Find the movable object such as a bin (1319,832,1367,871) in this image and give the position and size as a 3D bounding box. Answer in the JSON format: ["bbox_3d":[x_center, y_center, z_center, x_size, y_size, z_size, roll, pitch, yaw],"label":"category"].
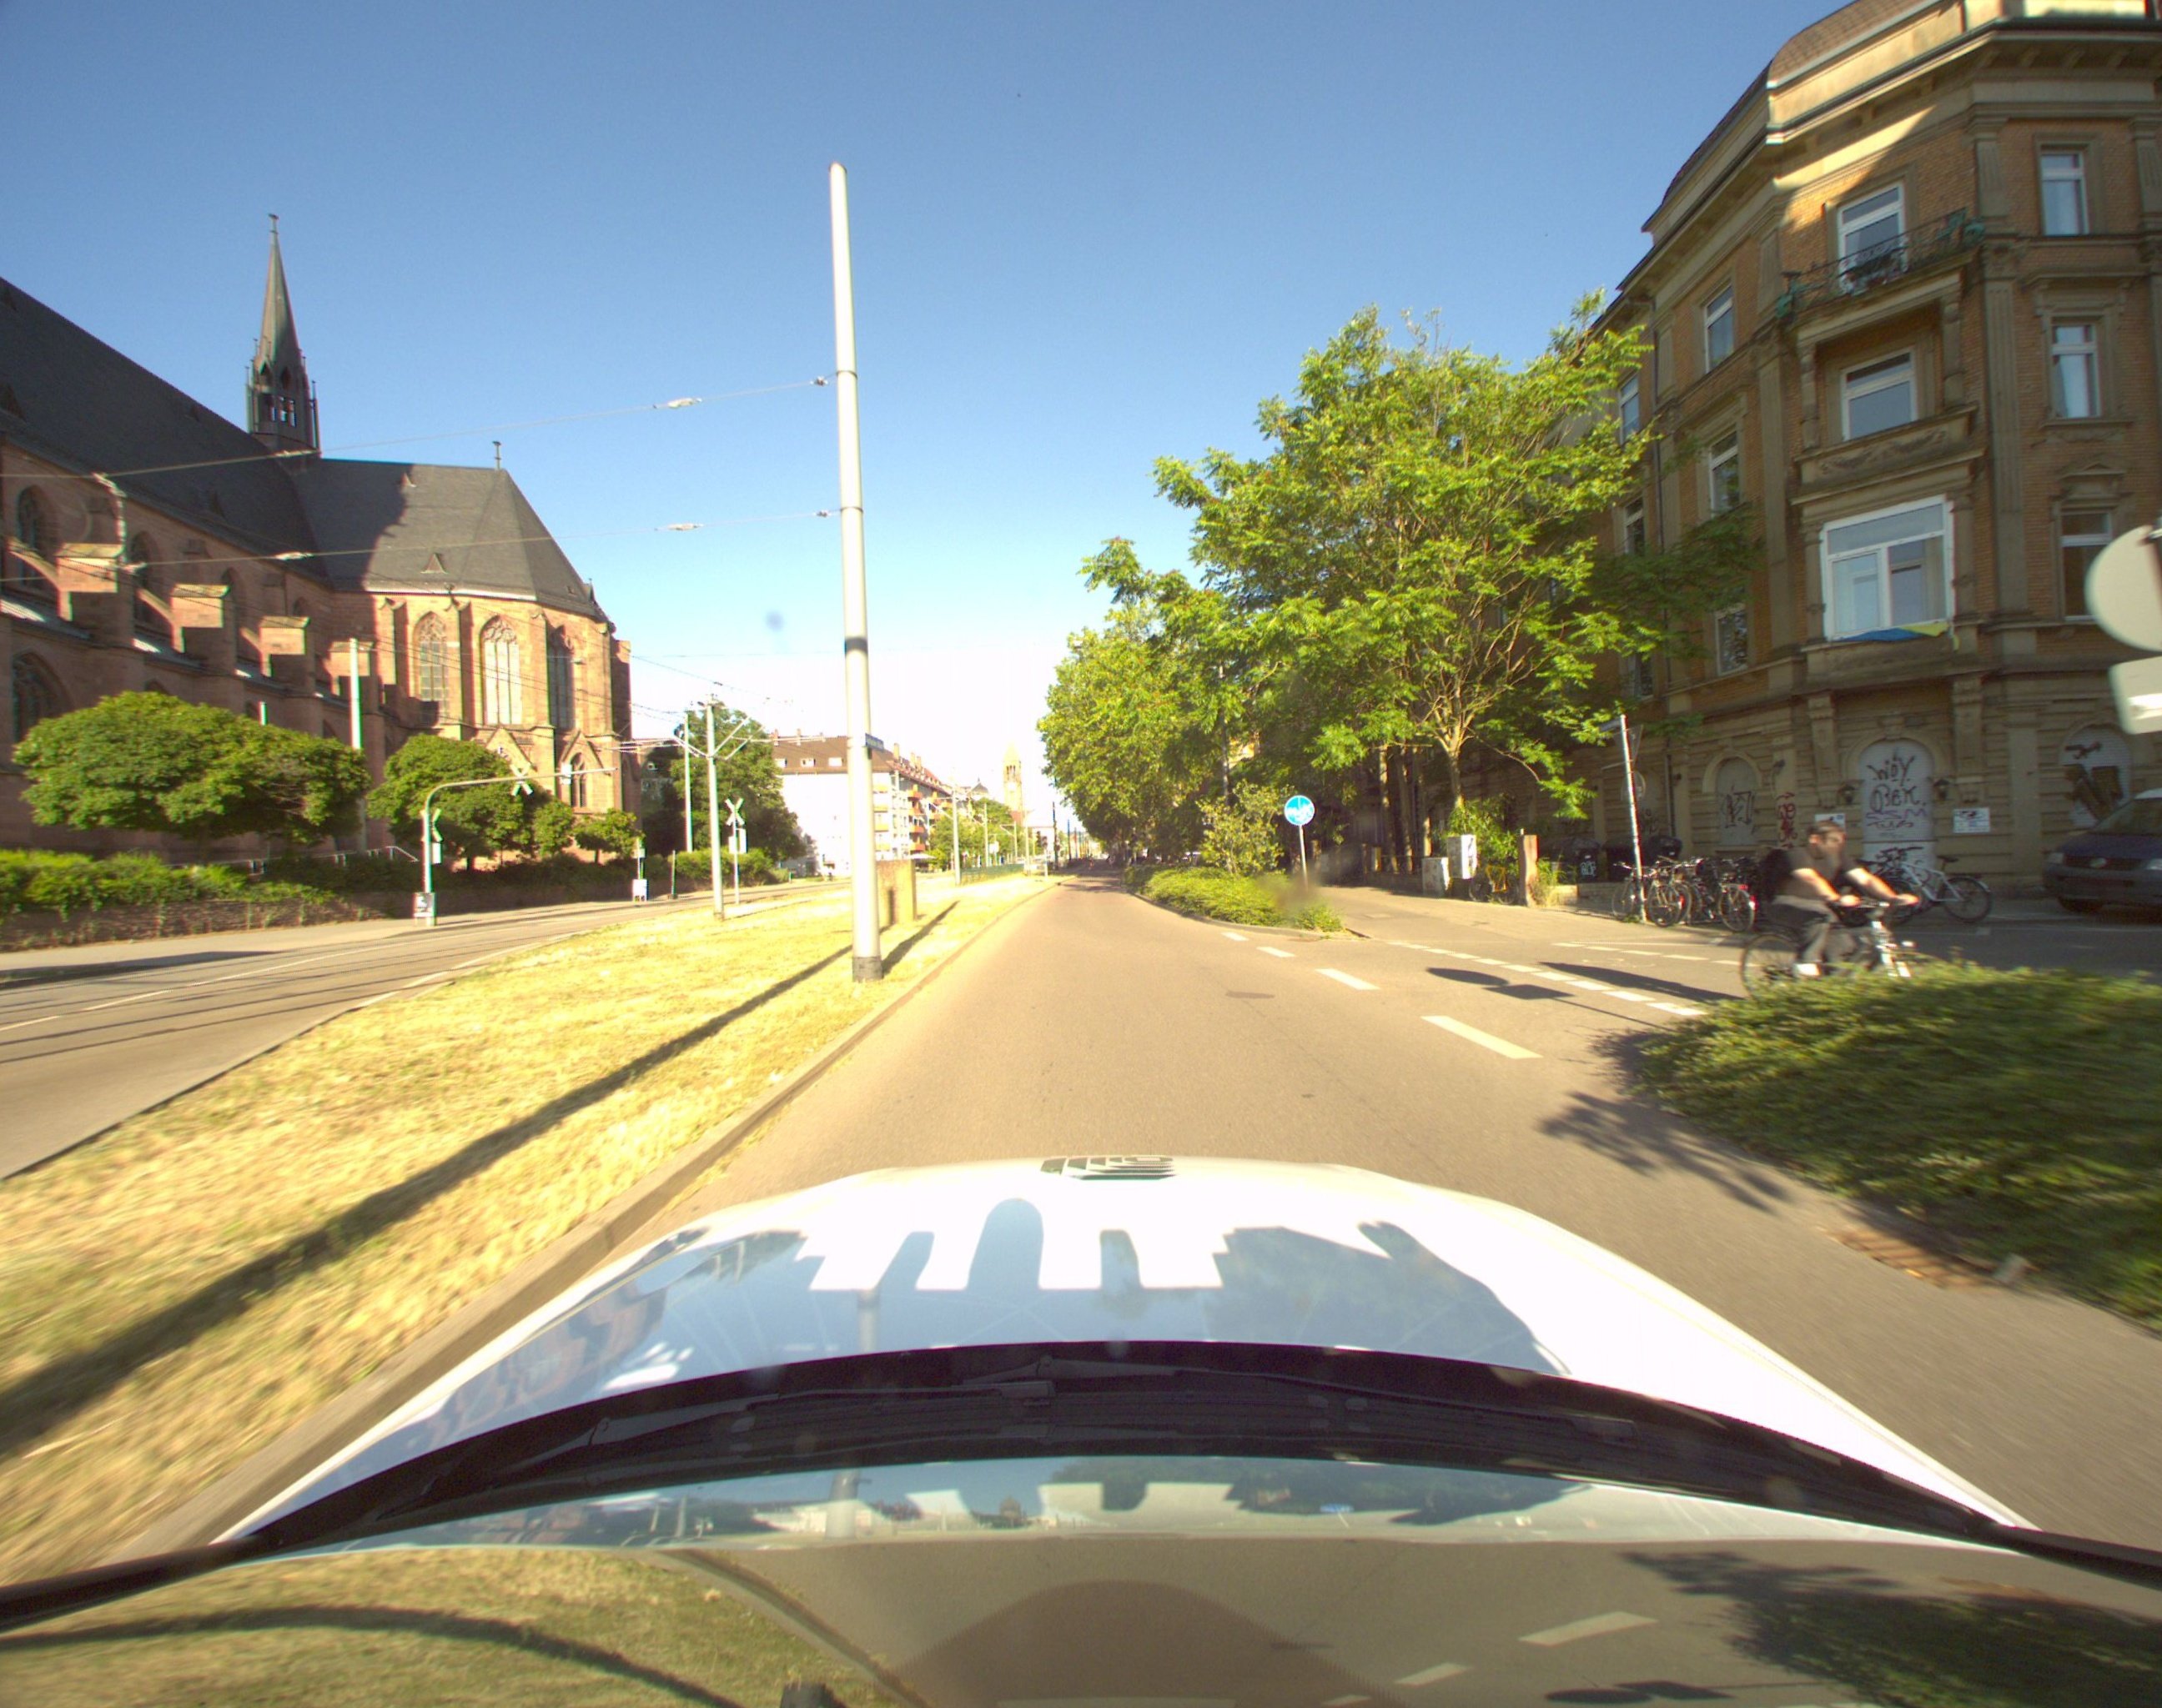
[{"bbox_3d":[14.469,-0.138,45.044,1.540,1.996,3.231,-4,0,1],"label":"movable object such as a bin"}]

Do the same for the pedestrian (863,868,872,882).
[{"bbox_3d":[-23.840,2.377,90.813,0.685,1.467,0.592,-3,2,5],"label":"pedestrian"}]

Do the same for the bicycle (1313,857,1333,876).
[{"bbox_3d":[11.505,0.601,38.704,0.766,0.854,0.375,-4,2,-2],"label":"bicycle"}]

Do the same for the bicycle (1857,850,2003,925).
[{"bbox_3d":[13.884,0.515,13.394,0.516,1.047,1.821,-4,2,1],"label":"bicycle"}]

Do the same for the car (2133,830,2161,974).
[{"bbox_3d":[12.814,0.400,7.372,4.236,1.415,1.813,-3,2,1],"label":"car"}]

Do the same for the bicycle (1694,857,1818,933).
[{"bbox_3d":[10.991,0.624,13.342,0.516,1.047,1.821,-4,2,1],"label":"bicycle"}]

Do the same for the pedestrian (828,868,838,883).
[{"bbox_3d":[-26.084,2.294,85.683,0.587,1.467,0.917,-4,2,2],"label":"pedestrian"}]

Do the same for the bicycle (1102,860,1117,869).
[{"bbox_3d":[3.604,1.342,103.163,1.813,1.047,0.572,-4,2,-7],"label":"bicycle"}]

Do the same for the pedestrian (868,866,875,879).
[{"bbox_3d":[-25.785,2.260,100.123,0.592,1.467,0.908,-5,3,-28],"label":"pedestrian"}]

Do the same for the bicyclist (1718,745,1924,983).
[{"bbox_3d":[6.164,0.086,6.858,0.639,1.815,1.052,-4,-2,1],"label":"bicyclist"}]

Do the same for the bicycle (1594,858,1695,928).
[{"bbox_3d":[9.907,0.648,14.402,0.516,1.047,1.821,-4,2,1],"label":"bicycle"}]

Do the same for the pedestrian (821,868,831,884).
[{"bbox_3d":[-26.863,2.283,85.675,0.641,1.598,0.898,-4,2,2],"label":"pedestrian"}]

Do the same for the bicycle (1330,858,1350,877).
[{"bbox_3d":[12.294,0.640,38.686,0.766,0.854,0.375,-4,2,-2],"label":"bicycle"}]

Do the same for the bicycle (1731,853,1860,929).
[{"bbox_3d":[11.628,0.562,13.339,0.516,1.047,1.821,-4,2,1],"label":"bicycle"}]

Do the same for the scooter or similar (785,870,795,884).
[{"bbox_3d":[-28.831,2.290,80.612,0.400,1.261,1.231,-4,2,2],"label":"scooter or similar"}]

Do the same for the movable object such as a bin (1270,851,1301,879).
[{"bbox_3d":[10.839,0.576,43.192,1.228,1.382,1.257,-4,0,0],"label":"movable object such as a bin"}]

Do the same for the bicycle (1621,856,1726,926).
[{"bbox_3d":[10.416,0.616,14.397,0.516,1.047,1.821,-4,2,1],"label":"bicycle"}]

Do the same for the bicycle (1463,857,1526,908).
[{"bbox_3d":[9.428,0.623,18.640,0.523,0.988,1.722,-4,2,0],"label":"bicycle"}]

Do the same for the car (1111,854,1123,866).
[{"bbox_3d":[6.171,1.057,138.991,1.986,2.107,4.002,-1,-1,2],"label":"car"}]

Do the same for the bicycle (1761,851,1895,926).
[{"bbox_3d":[12.176,0.526,13.355,0.516,1.047,1.821,-4,2,1],"label":"bicycle"}]

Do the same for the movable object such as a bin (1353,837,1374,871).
[{"bbox_3d":[14.830,0.002,42.808,0.752,1.692,0.742,-4,2,-1],"label":"movable object such as a bin"}]

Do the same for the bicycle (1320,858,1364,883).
[{"bbox_3d":[11.073,0.709,34.559,1.646,0.924,0.539,-4,2,2],"label":"bicycle"}]

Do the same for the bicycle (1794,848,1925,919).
[{"bbox_3d":[13.355,0.464,14.038,0.516,1.047,1.821,-4,2,1],"label":"bicycle"}]

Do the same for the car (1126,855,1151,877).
[{"bbox_3d":[4.328,0.891,61.946,1.637,1.511,4.185,-4,0,2],"label":"car"}]

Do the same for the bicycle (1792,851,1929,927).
[{"bbox_3d":[12.708,0.535,13.356,0.516,1.047,1.821,-4,2,1],"label":"bicycle"}]

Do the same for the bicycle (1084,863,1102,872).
[{"bbox_3d":[1.481,1.710,101.616,2.234,0.976,0.682,-3,2,0],"label":"bicycle"}]

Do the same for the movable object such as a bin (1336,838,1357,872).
[{"bbox_3d":[13.949,0.059,42.803,0.752,1.692,0.742,-4,2,-1],"label":"movable object such as a bin"}]

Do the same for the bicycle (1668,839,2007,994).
[{"bbox_3d":[6.177,0.465,6.914,0.639,1.048,2.360,-4,-1,1],"label":"bicycle"}]

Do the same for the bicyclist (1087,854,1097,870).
[{"bbox_3d":[1.389,0.936,101.605,1.137,1.890,0.682,-4,2,1],"label":"bicyclist"}]

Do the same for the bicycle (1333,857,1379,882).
[{"bbox_3d":[11.274,0.636,33.427,1.646,0.924,0.539,-4,2,2],"label":"bicycle"}]

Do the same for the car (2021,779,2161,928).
[{"bbox_3d":[17.741,-0.125,12.539,4.563,2.124,1.775,-2,2,-1],"label":"car"}]

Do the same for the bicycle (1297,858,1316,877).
[{"bbox_3d":[10.706,0.647,38.675,0.766,0.854,0.375,-4,2,-2],"label":"bicycle"}]

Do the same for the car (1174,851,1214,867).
[{"bbox_3d":[11.775,0.524,85.157,3.966,1.420,2.004,-3,0,6],"label":"car"}]

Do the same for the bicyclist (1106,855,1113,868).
[{"bbox_3d":[3.582,0.993,103.157,0.748,1.557,0.572,-4,2,-7],"label":"bicyclist"}]
